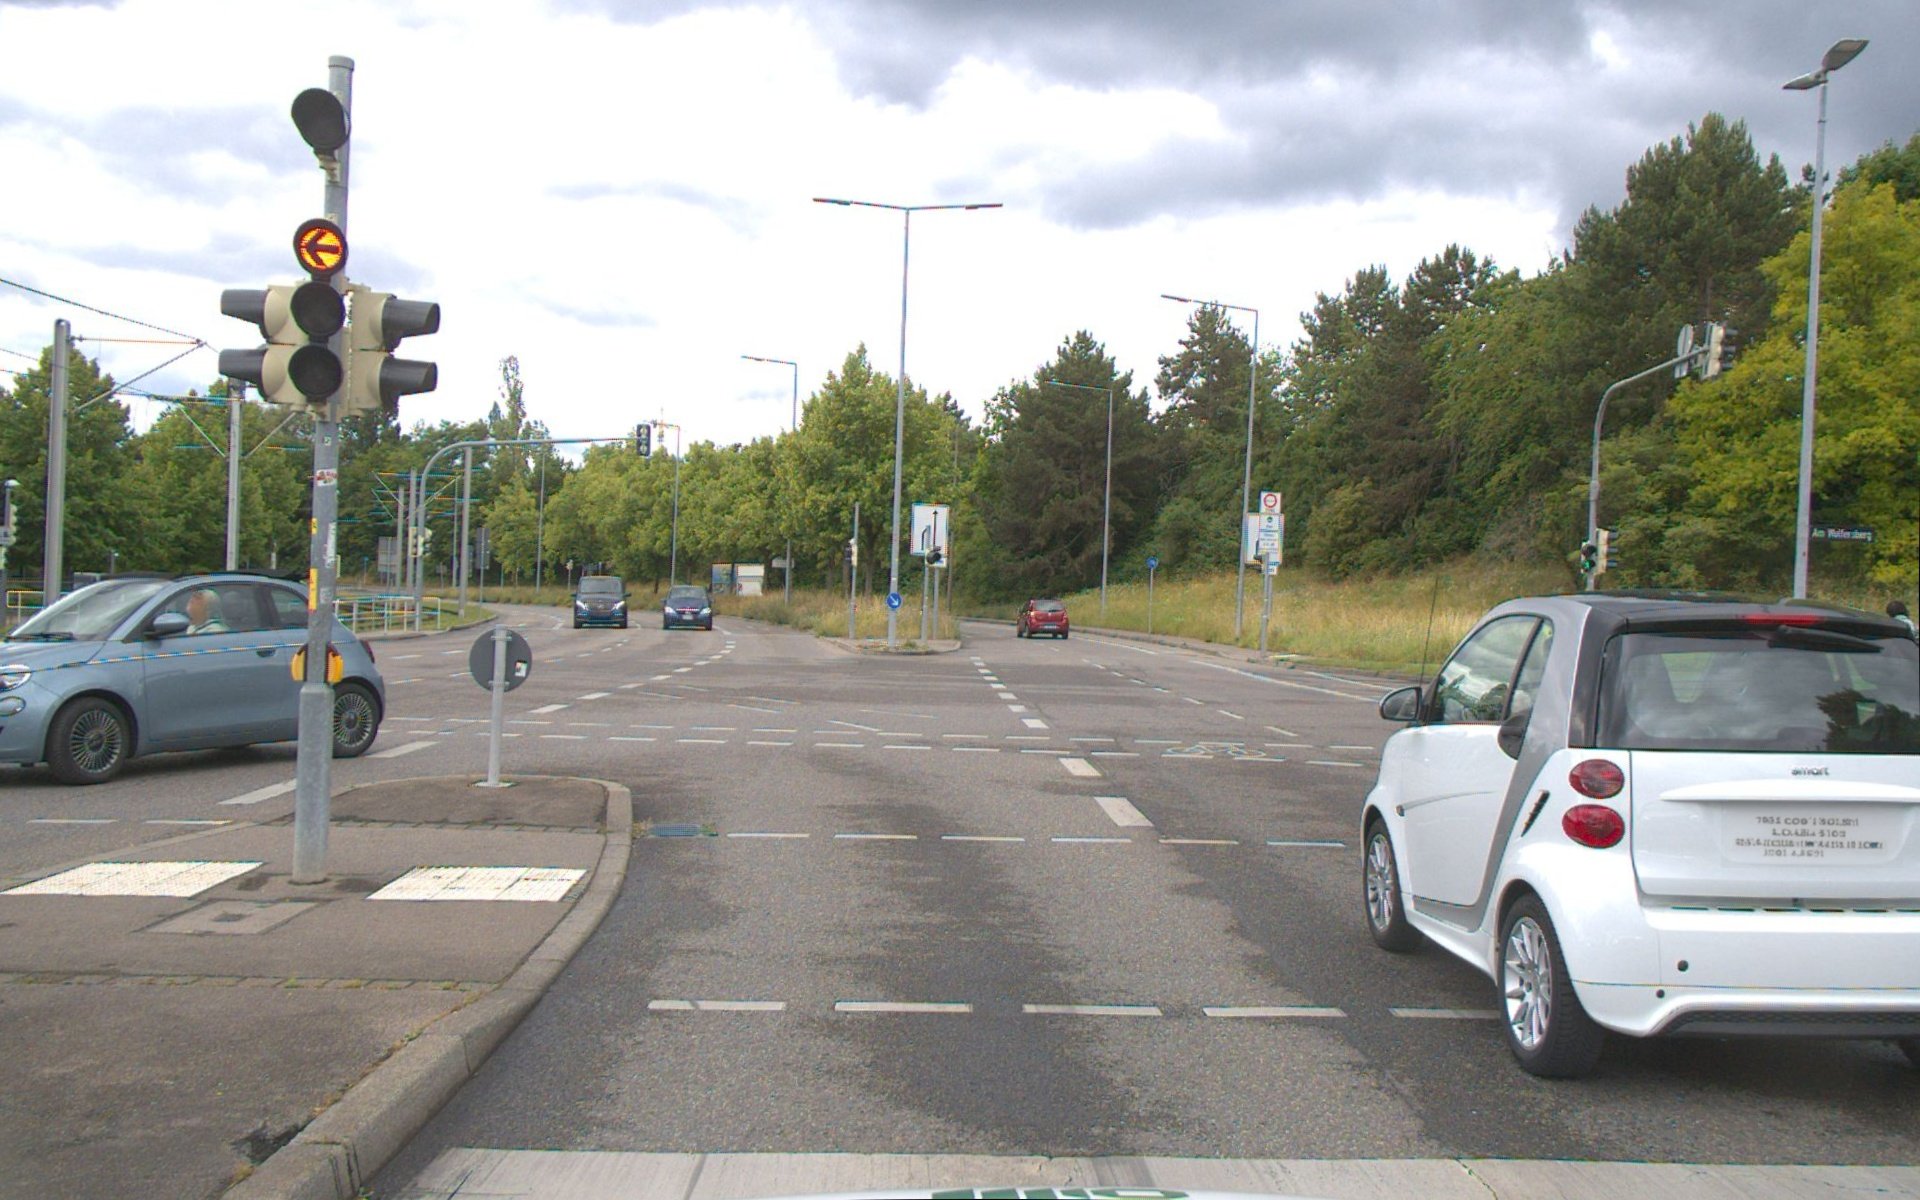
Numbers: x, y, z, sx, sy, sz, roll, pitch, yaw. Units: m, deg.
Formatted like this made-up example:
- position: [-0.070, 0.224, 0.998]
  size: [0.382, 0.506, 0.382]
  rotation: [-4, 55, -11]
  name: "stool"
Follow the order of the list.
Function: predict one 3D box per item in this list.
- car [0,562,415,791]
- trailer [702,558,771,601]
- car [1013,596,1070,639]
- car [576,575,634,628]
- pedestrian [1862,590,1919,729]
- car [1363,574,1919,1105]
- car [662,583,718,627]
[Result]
- position: [-6.356, 0.531, 13.179]
  size: [1.723, 1.555, 3.594]
  rotation: [1, 0, 30]
  name: "car"
- position: [-16.717, -1.520, 123.271]
  size: [2.723, 3.065, 6.014]
  rotation: [1, 0, -34]
  name: "trailer"
- position: [3.258, 0.685, 66.484]
  size: [1.749, 1.631, 3.883]
  rotation: [1, 0, -5]
  name: "car"
- position: [-13.033, 0.046, 60.951]
  size: [1.853, 1.844, 5.080]
  rotation: [0, 0, -10]
  name: "car"
- position: [11.725, 0.727, 20.584]
  size: [0.630, 1.691, 0.714]
  rotation: [1, -1, 6]
  name: "pedestrian"
- position: [2.643, 0.716, 6.249]
  size: [1.559, 1.543, 2.766]
  rotation: [1, 0, 0]
  name: "car"
- position: [-9.736, 0.184, 59.894]
  size: [1.702, 1.535, 3.656]
  rotation: [1, 0, -5]
  name: "car"
